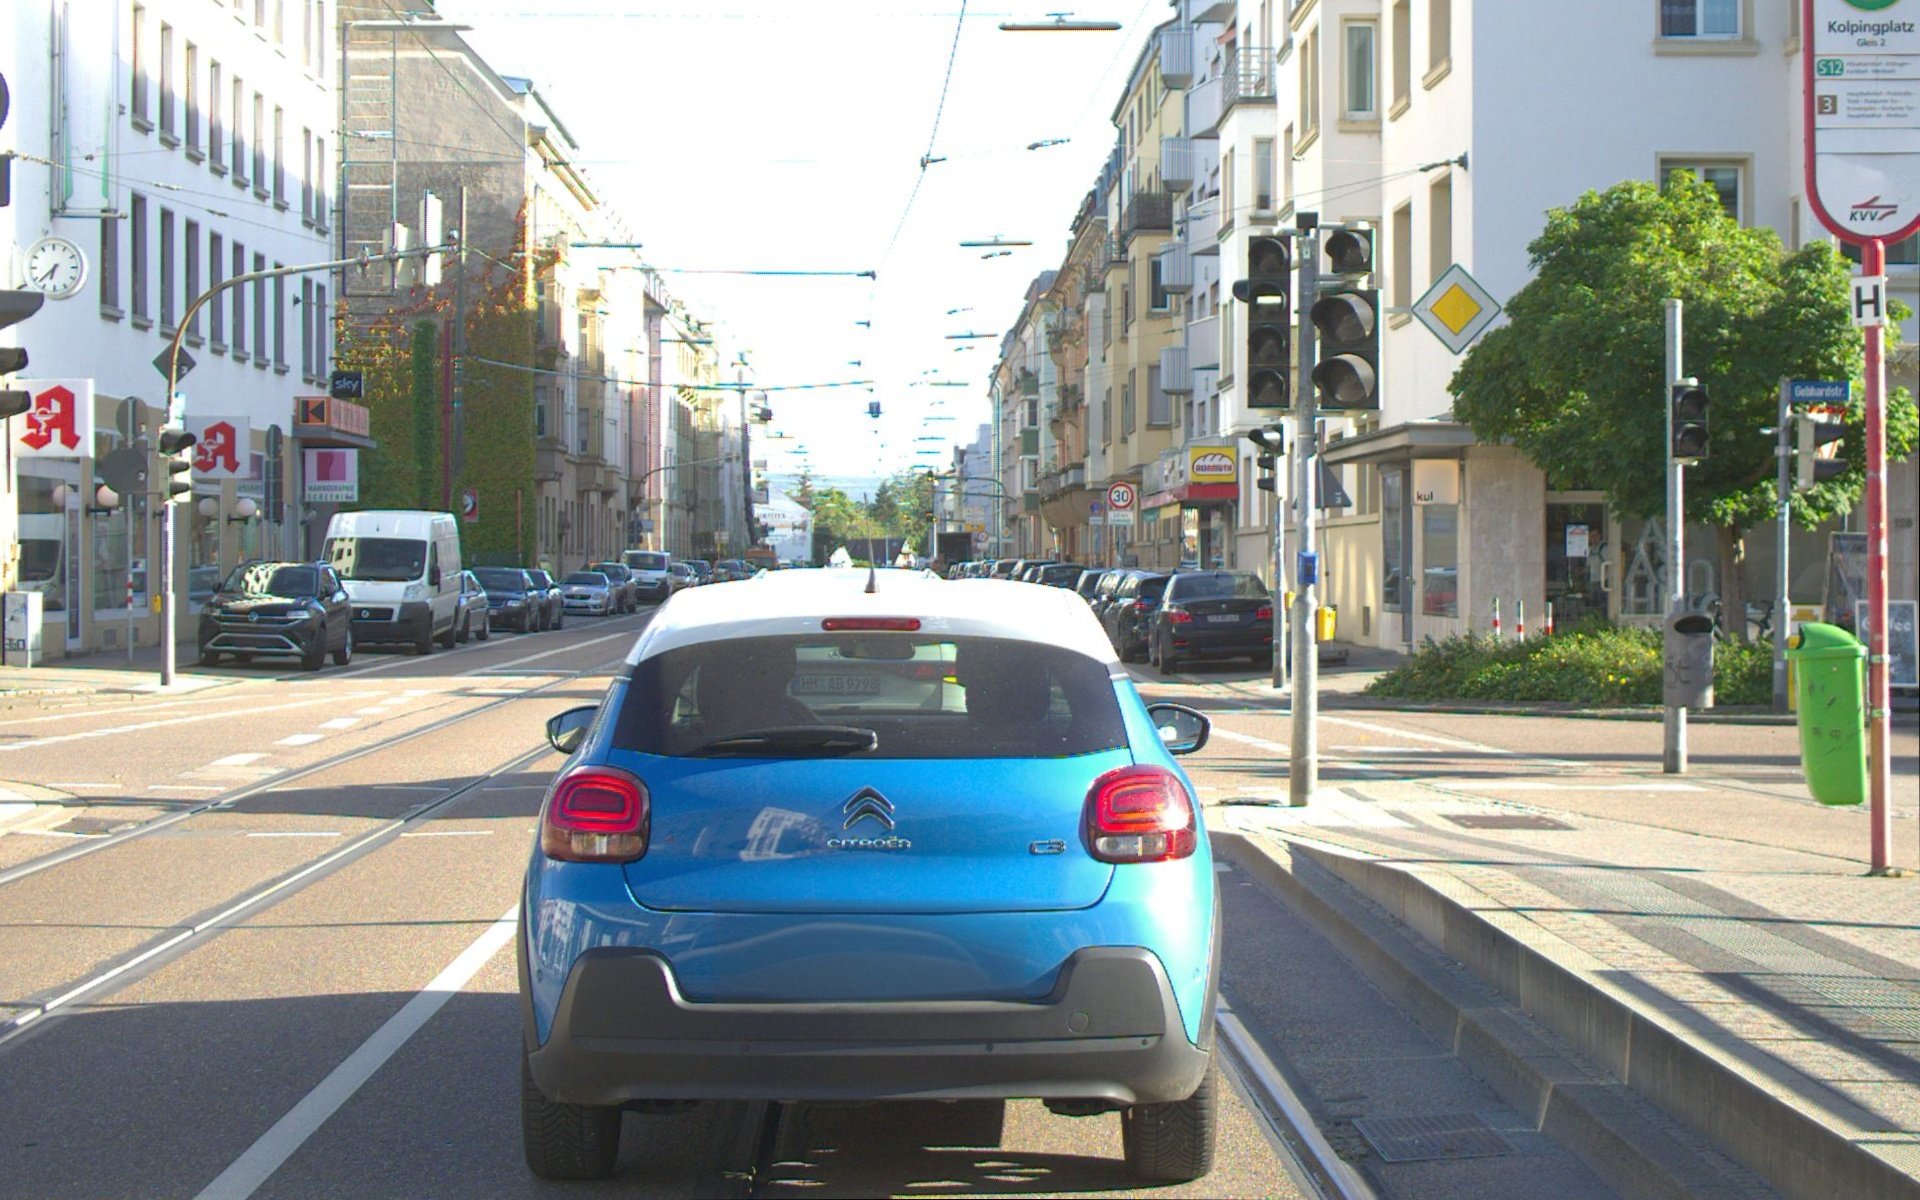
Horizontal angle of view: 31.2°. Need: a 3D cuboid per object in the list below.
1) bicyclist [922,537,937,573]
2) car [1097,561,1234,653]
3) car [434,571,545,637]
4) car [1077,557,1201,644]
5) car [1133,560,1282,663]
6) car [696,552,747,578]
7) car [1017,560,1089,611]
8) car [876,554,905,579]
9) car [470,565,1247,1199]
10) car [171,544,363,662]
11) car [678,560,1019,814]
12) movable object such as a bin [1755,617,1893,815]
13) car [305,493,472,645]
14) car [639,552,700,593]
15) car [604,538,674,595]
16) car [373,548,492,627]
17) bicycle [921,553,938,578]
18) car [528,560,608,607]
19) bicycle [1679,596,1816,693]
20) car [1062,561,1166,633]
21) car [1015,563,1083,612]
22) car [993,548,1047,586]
[{"bbox_3d":[-1.699,-2.491,190.084,0.809,2.007,0.922,1,0,-1],"label":"bicyclist"},{"bbox_3d":[3.317,0.089,56.099,1.993,1.459,4.000,0,1,0],"label":"car"},{"bbox_3d":[-10.442,0.078,76.599,1.993,1.393,4.157,1,0,-2],"label":"car"},{"bbox_3d":[3.156,-0.017,61.335,1.993,1.496,4.000,0,1,0],"label":"car"},{"bbox_3d":[3.616,0.139,50.885,1.909,1.459,4.000,0,1,0],"label":"car"},{"bbox_3d":[-10.590,-1.570,152.719,1.993,1.152,4.000,0,1,0],"label":"car"},{"bbox_3d":[2.687,-0.445,100.480,1.993,1.459,4.504,0,1,0],"label":"car"},{"bbox_3d":[-4.920,-2.398,244.139,1.993,1.766,4.000,0,1,-1],"label":"car"},{"bbox_3d":[-0.257,0.661,9.667,1.728,1.477,3.827,1,1,-1],"label":"car"},{"bbox_3d":[-10.187,0.029,50.871,1.993,1.563,4.403,3,0,-2],"label":"car"},{"bbox_3d":[-0.691,0.485,22.667,1.984,1.459,4.816,1,1,-1],"label":"car"},{"bbox_3d":[3.526,0.467,14.049,0.449,0.783,0.489,0,0,2],"label":"movable object such as a bin"},{"bbox_3d":[-10.106,-0.558,61.227,2.085,2.533,6.206,1,1,-2],"label":"car"},{"bbox_3d":[-11.397,-1.060,135.089,1.955,1.547,3.938,1,0,2],"label":"car"},{"bbox_3d":[-11.678,-1.224,125.411,2.006,2.007,4.689,1,0,1],"label":"car"},{"bbox_3d":[-10.402,-0.249,67.978,1.888,1.491,3.562,1,0,-2],"label":"car"},{"bbox_3d":[-1.670,-1.917,190.225,0.920,1.384,3.132,0,1,0],"label":"bicycle"},{"bbox_3d":[-11.582,-0.496,101.820,1.993,1.320,3.923,1,0,-2],"label":"car"},{"bbox_3d":[9.406,0.528,41.085,1.568,1.117,0.300,1,0,11],"label":"bicycle"},{"bbox_3d":[3.169,-0.078,71.392,1.993,1.459,4.000,0,1,0],"label":"car"},{"bbox_3d":[2.694,-0.398,104.933,1.993,1.459,4.000,0,1,0],"label":"car"},{"bbox_3d":[2.298,-1.263,131.729,1.993,1.459,4.000,0,1,0],"label":"car"}]
